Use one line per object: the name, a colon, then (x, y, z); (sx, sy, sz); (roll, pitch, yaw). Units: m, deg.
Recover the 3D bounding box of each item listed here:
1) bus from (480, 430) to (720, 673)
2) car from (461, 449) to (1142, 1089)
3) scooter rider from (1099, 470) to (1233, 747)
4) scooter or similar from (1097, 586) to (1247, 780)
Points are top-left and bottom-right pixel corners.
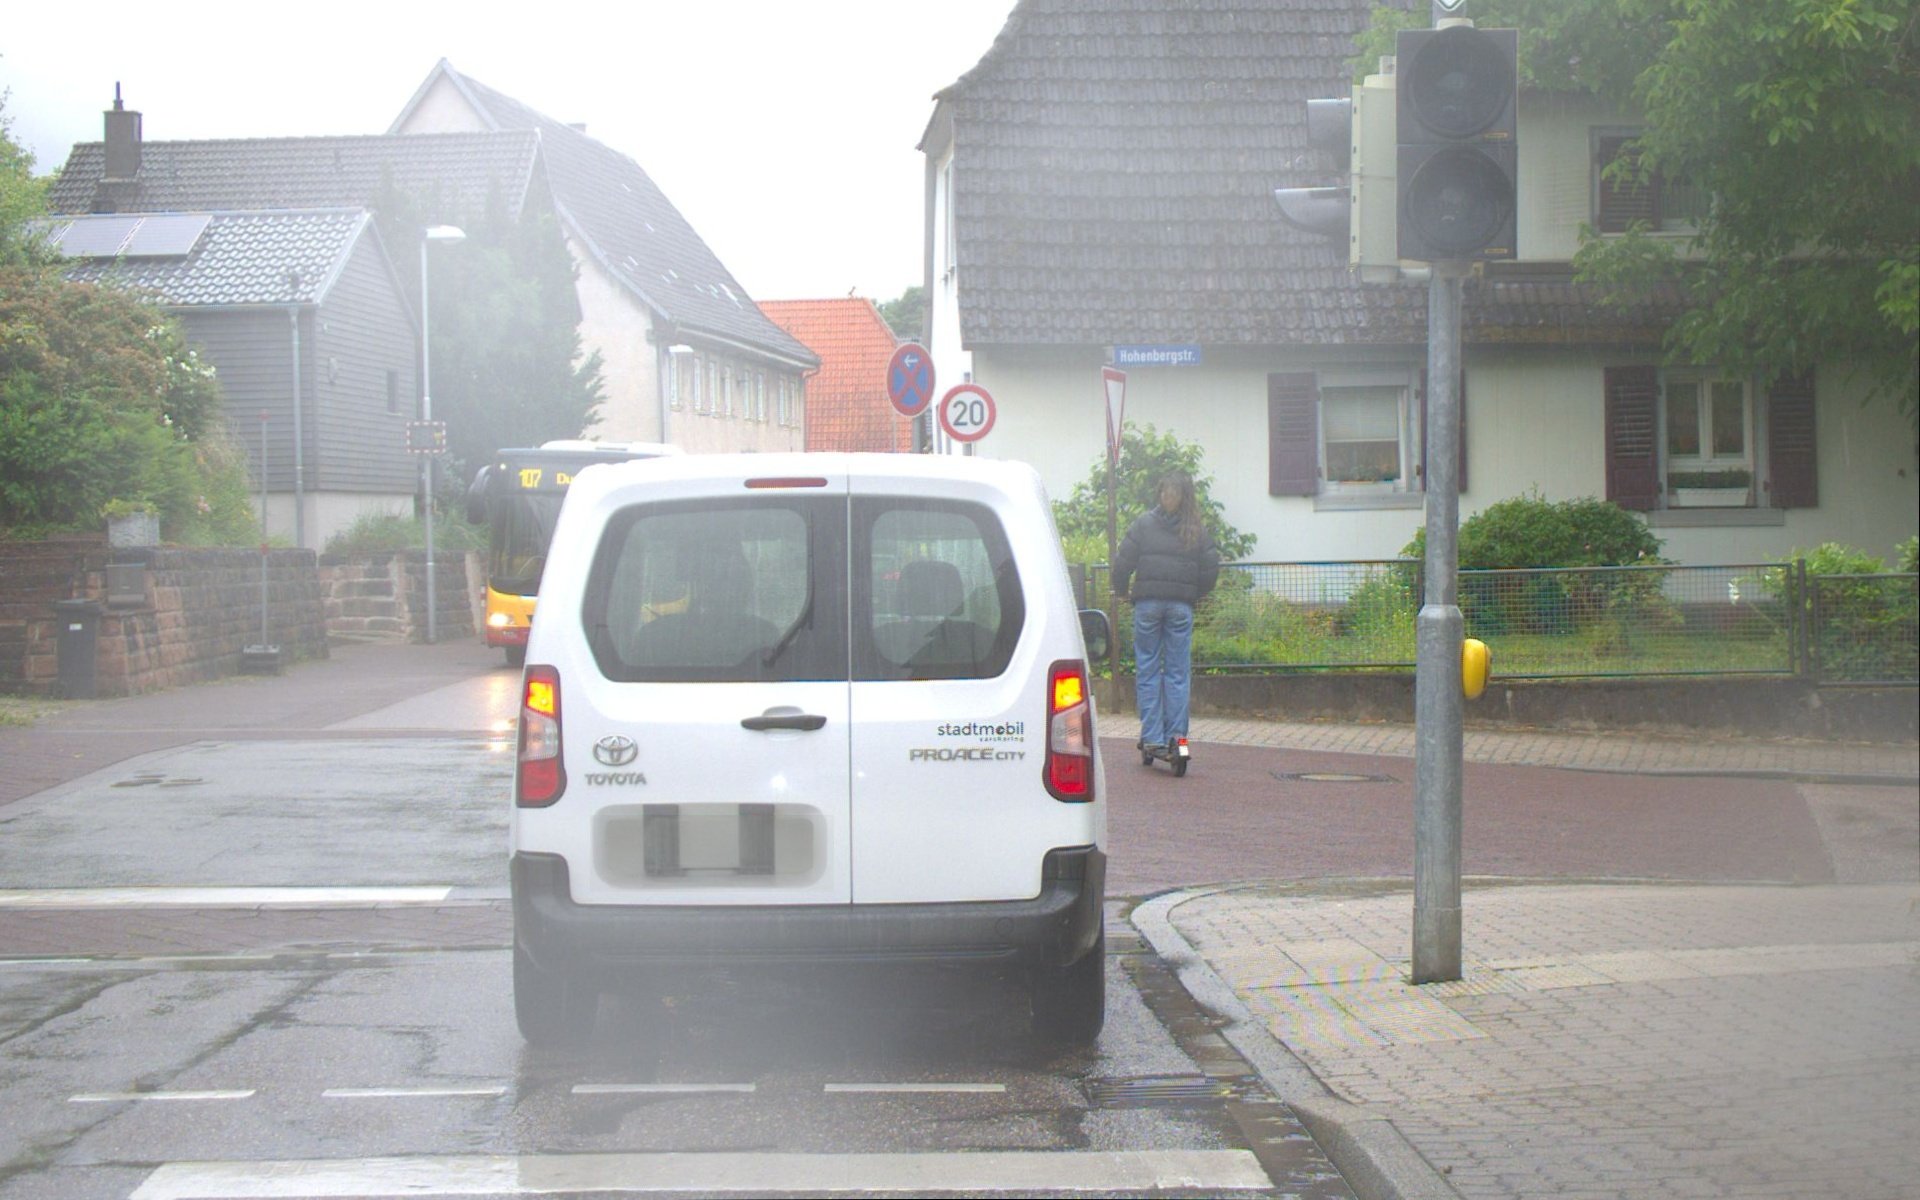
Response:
bus: (-4.855, -0.861, 48.397); (2.649, 2.989, 12.195); (0, 2, -3)
car: (-0.517, 0.443, 11.578); (1.894, 1.787, 3.814); (1, 1, -2)
scooter rider: (1.300, 0.043, 21.764); (0.730, 1.727, 0.518); (0, 3, -10)
scooter or similar: (1.316, 0.500, 21.577); (0.620, 1.123, 1.402); (0, 3, -10)
